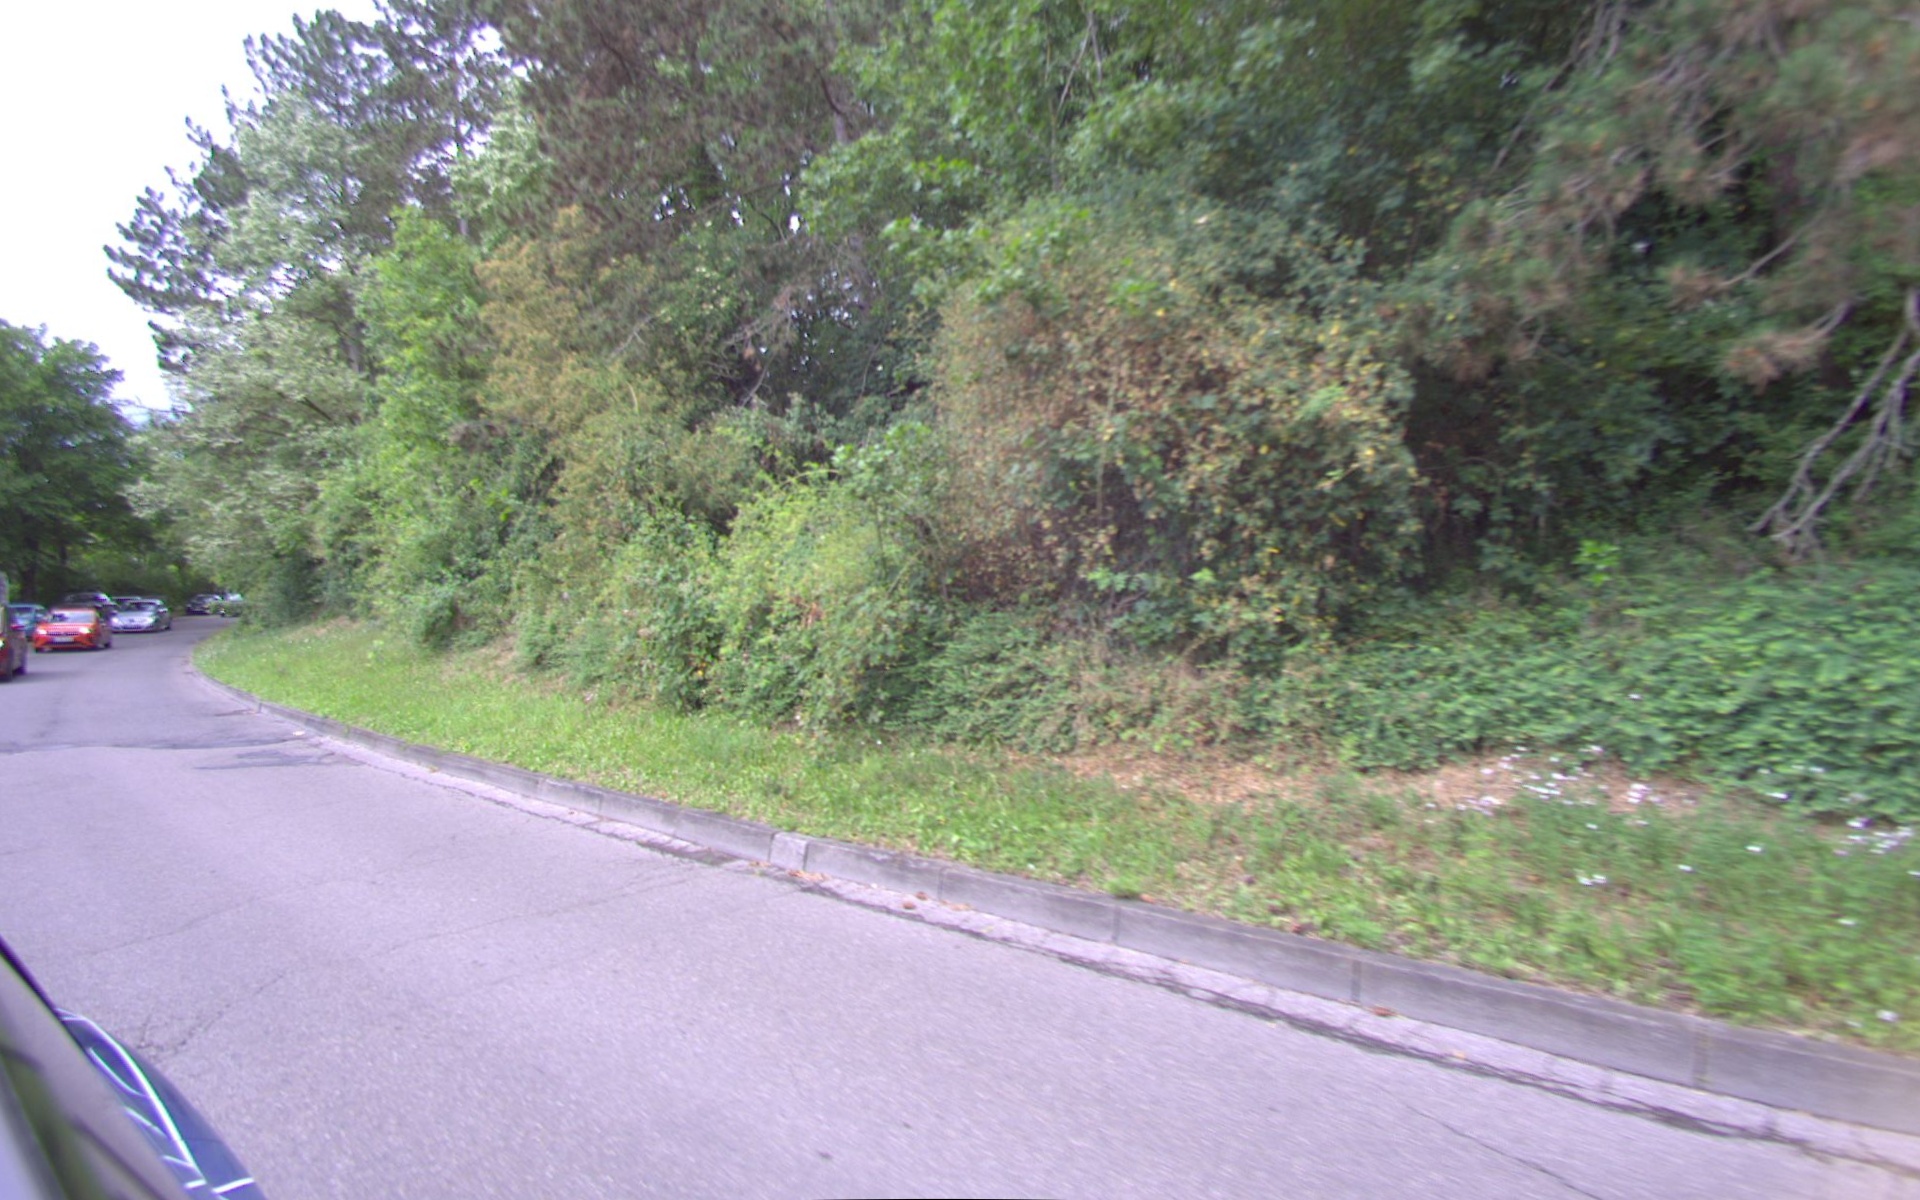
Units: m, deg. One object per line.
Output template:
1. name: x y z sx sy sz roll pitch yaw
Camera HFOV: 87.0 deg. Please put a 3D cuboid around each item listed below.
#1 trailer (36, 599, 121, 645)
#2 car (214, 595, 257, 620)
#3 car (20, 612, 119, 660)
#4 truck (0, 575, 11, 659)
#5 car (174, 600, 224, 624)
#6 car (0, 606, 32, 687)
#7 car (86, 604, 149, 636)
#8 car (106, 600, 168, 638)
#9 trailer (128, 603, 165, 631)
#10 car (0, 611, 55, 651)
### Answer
1. trailer: -44.313 1.027 51.030 1.966 1.947 5.913 -2 2 -29
2. car: -49.353 0.466 68.998 1.739 1.528 4.013 -2 2 -27
3. car: -31.005 1.193 35.359 1.837 1.459 4.188 -2 1 -31
4. truck: -33.955 0.601 33.623 2.272 2.955 7.053 0 0 -33
5. car: -54.331 0.863 72.319 1.836 1.579 4.190 -2 1 -23
6. car: -21.414 0.989 21.492 1.967 1.640 4.637 -2 1 -36
7. car: -46.852 1.087 56.371 1.815 1.697 4.615 -1 0 -29
8. car: -39.808 0.895 49.050 1.892 1.694 4.011 0 0 -33
9. trailer: -50.212 1.018 62.468 1.354 1.616 2.274 -2 1 -29
10. car: -39.953 1.292 42.850 1.672 1.559 3.780 -2 1 -30
